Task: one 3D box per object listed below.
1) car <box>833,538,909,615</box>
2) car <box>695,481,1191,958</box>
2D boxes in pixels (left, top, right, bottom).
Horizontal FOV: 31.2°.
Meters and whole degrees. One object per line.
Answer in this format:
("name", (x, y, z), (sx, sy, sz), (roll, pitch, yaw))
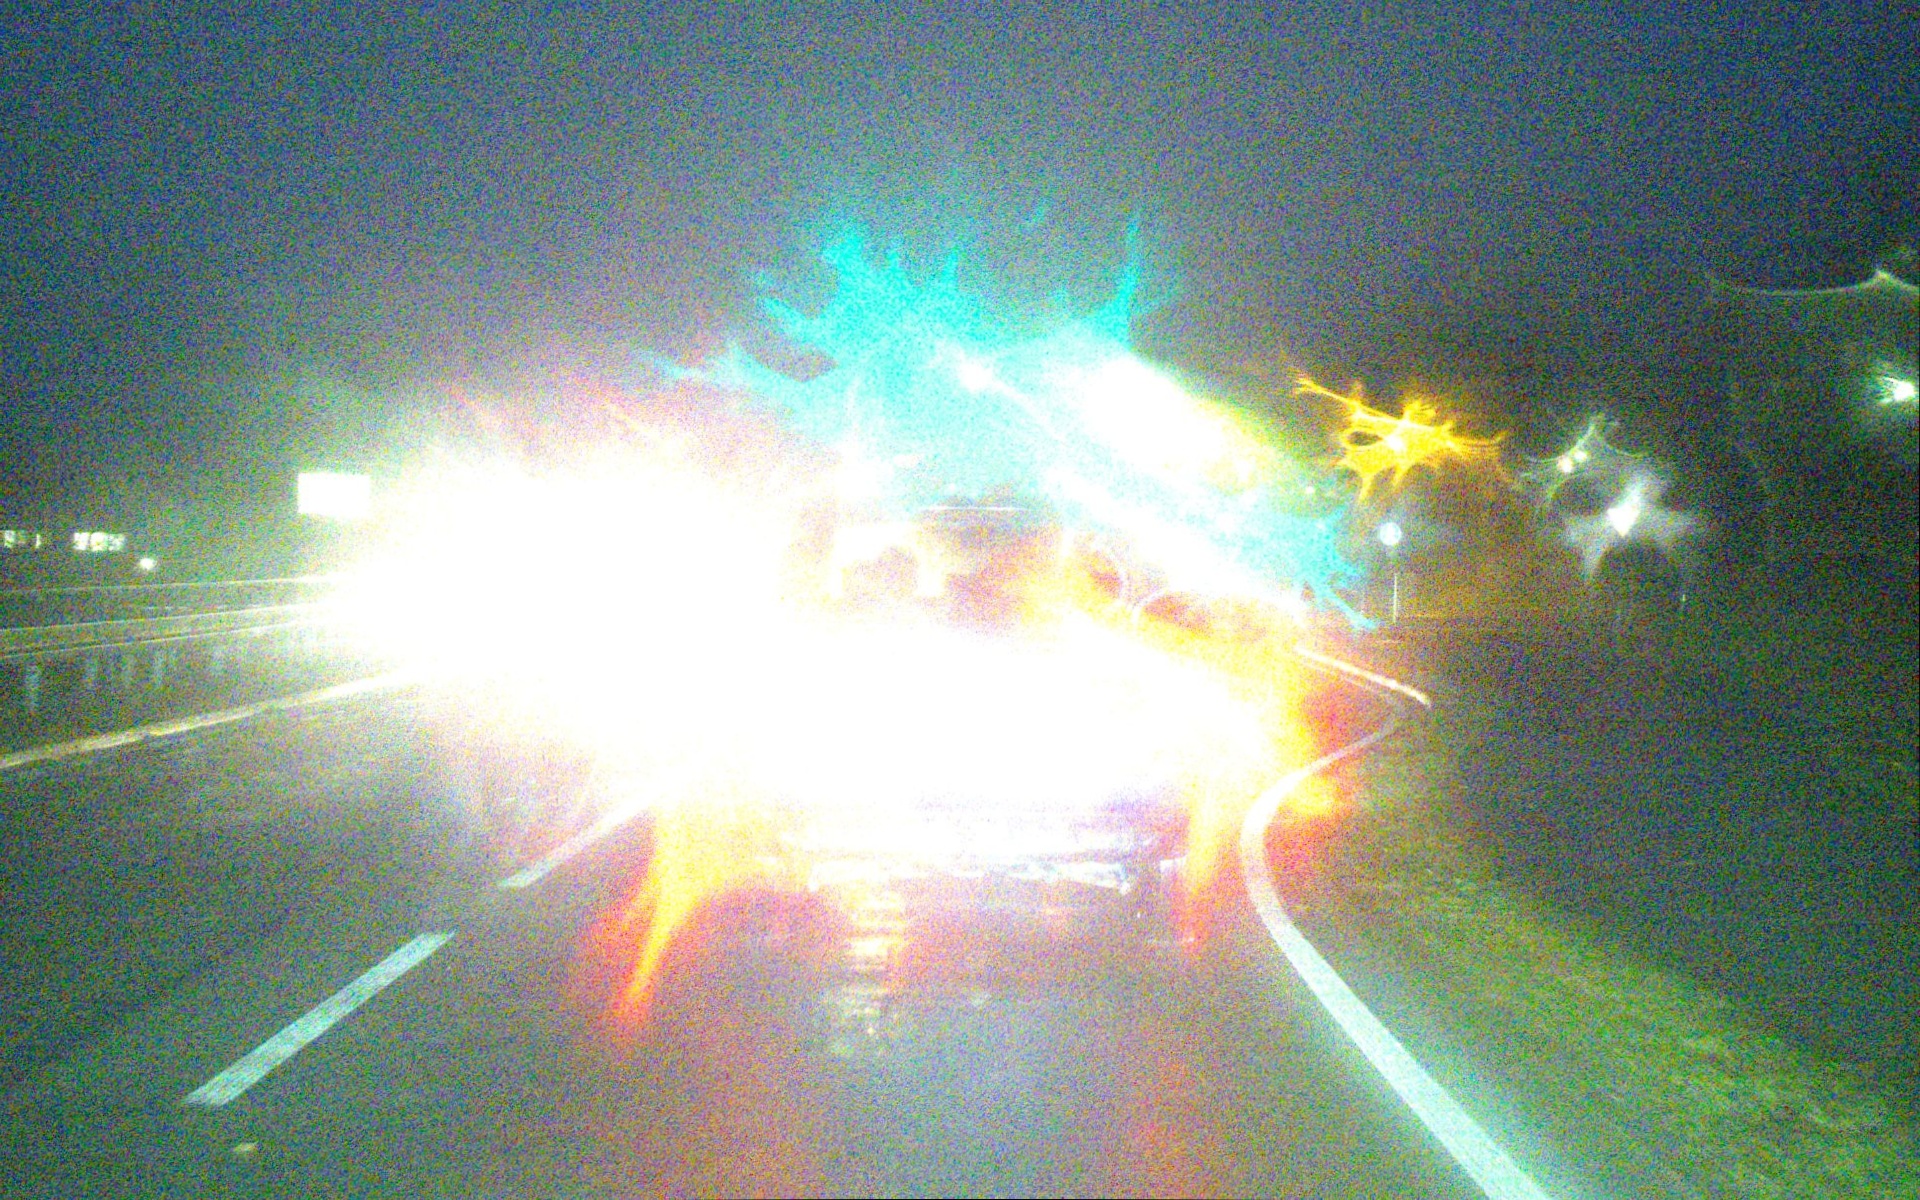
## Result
("car", (-2.516, -0.646, 96.400), (1.993, 2.007, 4.000), (-1, -2, -3))
("car", (-0.072, 0.415, 14.417), (1.775, 1.706, 4.000), (1, 0, 0))
